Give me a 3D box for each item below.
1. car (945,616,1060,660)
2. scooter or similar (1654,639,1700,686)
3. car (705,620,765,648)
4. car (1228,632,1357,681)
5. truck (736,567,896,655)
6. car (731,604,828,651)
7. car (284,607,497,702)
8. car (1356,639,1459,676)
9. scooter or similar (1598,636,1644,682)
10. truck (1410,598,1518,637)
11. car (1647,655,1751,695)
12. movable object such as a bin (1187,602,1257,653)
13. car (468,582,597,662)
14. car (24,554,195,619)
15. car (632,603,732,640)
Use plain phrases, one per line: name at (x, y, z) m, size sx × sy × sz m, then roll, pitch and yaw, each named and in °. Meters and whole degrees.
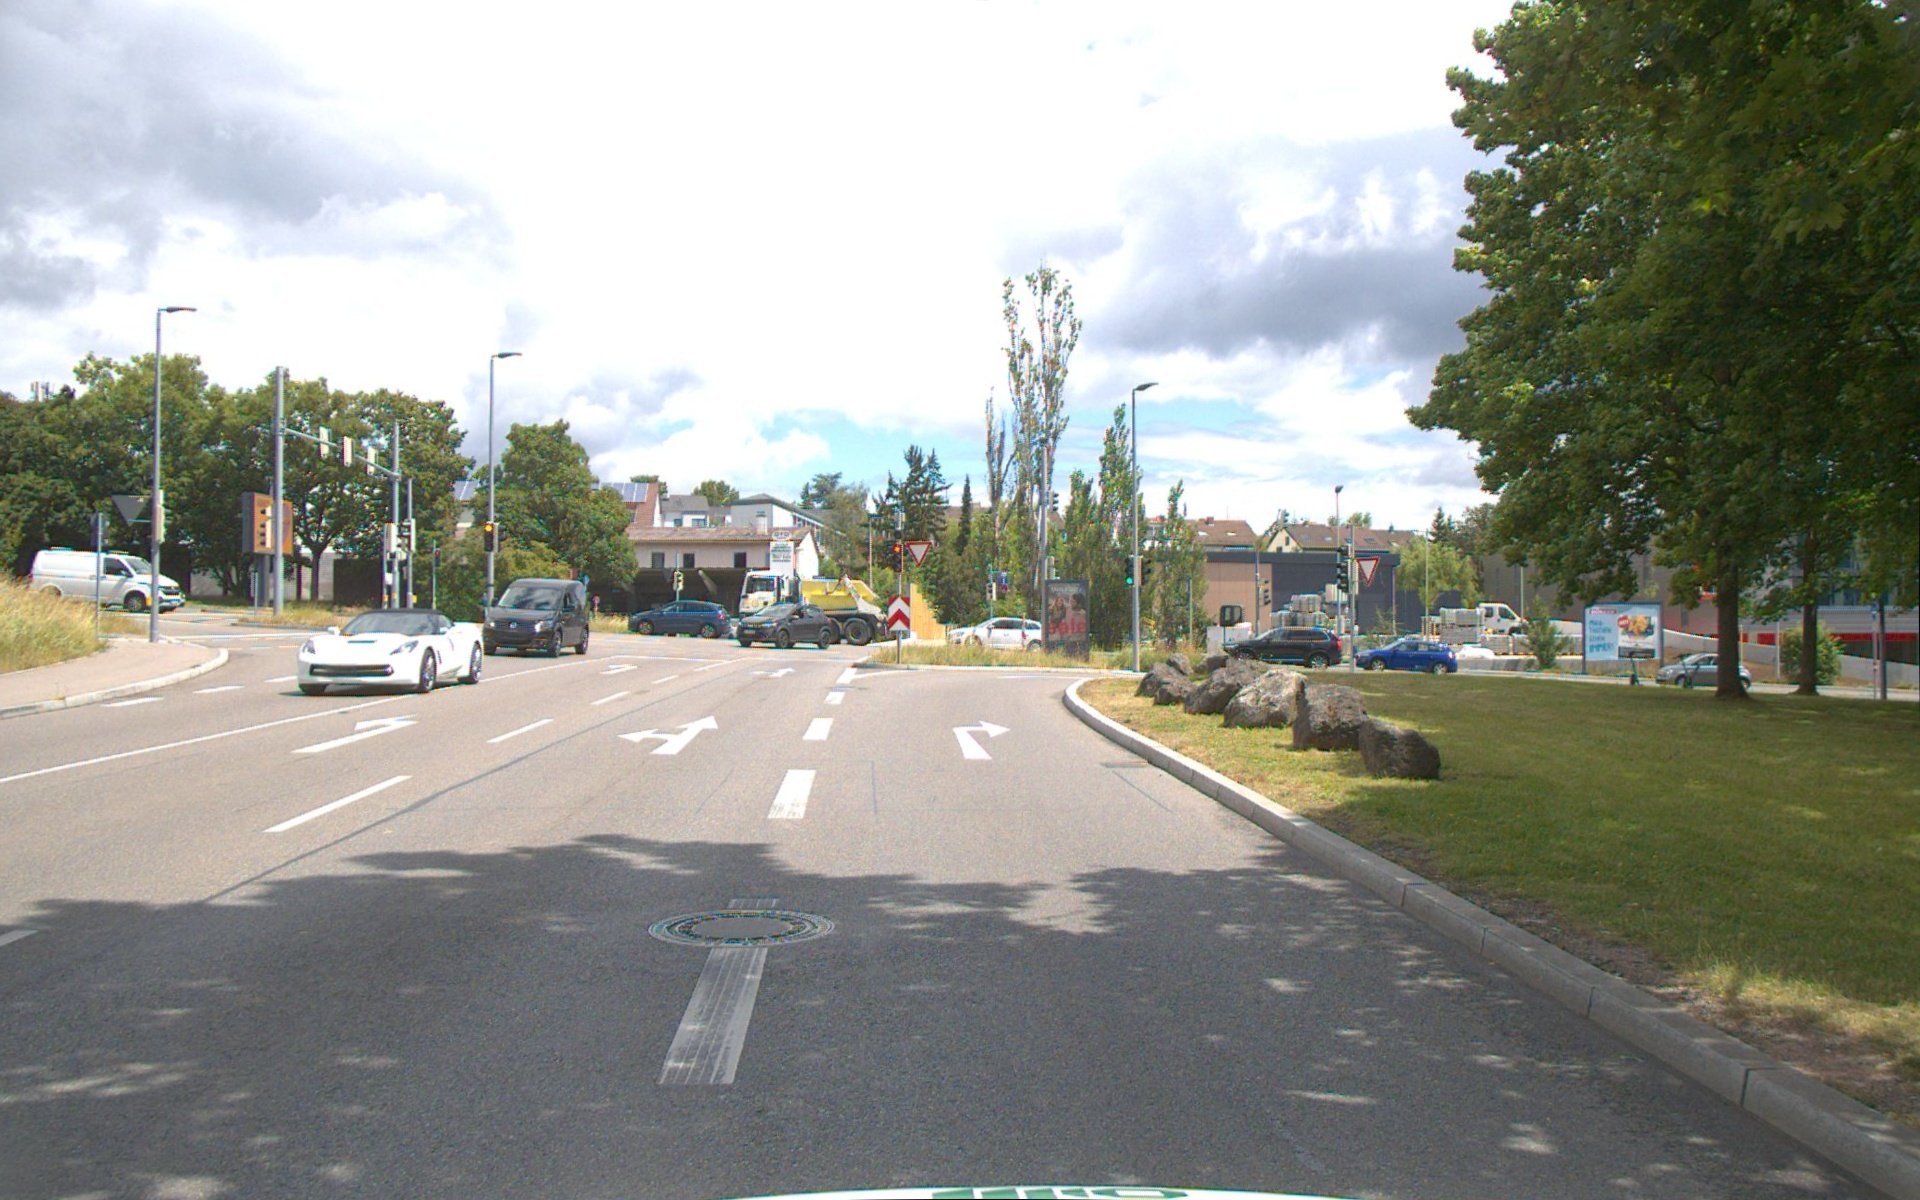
car at (1.695, 1.505, 65.914) m, size 4.286 × 1.495 × 1.618 m, roll 3°, pitch -1°, yaw -11°
scooter or similar at (20.434, 1.783, 47.139) m, size 1.169 × 1.286 × 0.530 m, roll 3°, pitch -3°, yaw -22°
car at (-12.308, 1.860, 90.266) m, size 1.676 × 1.425 × 3.953 m, roll 3°, pitch -2°, yaw -33°
car at (13.395, 2.263, 66.833) m, size 4.862 × 1.719 × 1.911 m, roll 3°, pitch -1°, yaw 3°
truck at (-6.399, 0.510, 74.411) m, size 6.802 × 3.642 × 2.847 m, roll -2°, pitch -1°, yaw 0°
car at (-6.299, 0.953, 58.173) m, size 1.748 × 1.605 × 4.165 m, roll 0°, pitch -1°, yaw 20°
car at (-8.772, 0.798, 25.907) m, size 1.866 × 1.314 × 4.607 m, roll -1°, pitch -1°, yaw -2°
car at (18.907, 2.430, 69.982) m, size 3.904 × 1.425 × 1.697 m, roll 2°, pitch -1°, yaw 2°
scooter or similar at (18.844, 1.684, 47.133) m, size 1.169 × 1.286 × 0.530 m, roll 3°, pitch -3°, yaw -22°
truck at (31.942, 1.106, 105.045) m, size 6.420 × 2.183 × 2.001 m, roll -3°, pitch -2°, yaw 17°
car at (29.548, 3.000, 66.188) m, size 3.439 × 1.486 × 1.586 m, roll -1°, pitch -1°, yaw 4°
movable object such as a bin at (14.131, 1.510, 89.114) m, size 3.333 × 2.582 × 2.153 m, roll 2°, pitch -2°, yaw 20°
car at (-10.239, 0.521, 39.966) m, size 1.748 × 1.810 × 4.812 m, roll 1°, pitch 0°, yaw 1°
car at (-29.594, -0.445, 57.679) m, size 4.855 × 1.971 × 1.910 m, roll 3°, pitch -1°, yaw -2°
car at (-11.823, 0.935, 70.611) m, size 3.905 × 1.425 × 1.697 m, roll 2°, pitch -1°, yaw 1°
